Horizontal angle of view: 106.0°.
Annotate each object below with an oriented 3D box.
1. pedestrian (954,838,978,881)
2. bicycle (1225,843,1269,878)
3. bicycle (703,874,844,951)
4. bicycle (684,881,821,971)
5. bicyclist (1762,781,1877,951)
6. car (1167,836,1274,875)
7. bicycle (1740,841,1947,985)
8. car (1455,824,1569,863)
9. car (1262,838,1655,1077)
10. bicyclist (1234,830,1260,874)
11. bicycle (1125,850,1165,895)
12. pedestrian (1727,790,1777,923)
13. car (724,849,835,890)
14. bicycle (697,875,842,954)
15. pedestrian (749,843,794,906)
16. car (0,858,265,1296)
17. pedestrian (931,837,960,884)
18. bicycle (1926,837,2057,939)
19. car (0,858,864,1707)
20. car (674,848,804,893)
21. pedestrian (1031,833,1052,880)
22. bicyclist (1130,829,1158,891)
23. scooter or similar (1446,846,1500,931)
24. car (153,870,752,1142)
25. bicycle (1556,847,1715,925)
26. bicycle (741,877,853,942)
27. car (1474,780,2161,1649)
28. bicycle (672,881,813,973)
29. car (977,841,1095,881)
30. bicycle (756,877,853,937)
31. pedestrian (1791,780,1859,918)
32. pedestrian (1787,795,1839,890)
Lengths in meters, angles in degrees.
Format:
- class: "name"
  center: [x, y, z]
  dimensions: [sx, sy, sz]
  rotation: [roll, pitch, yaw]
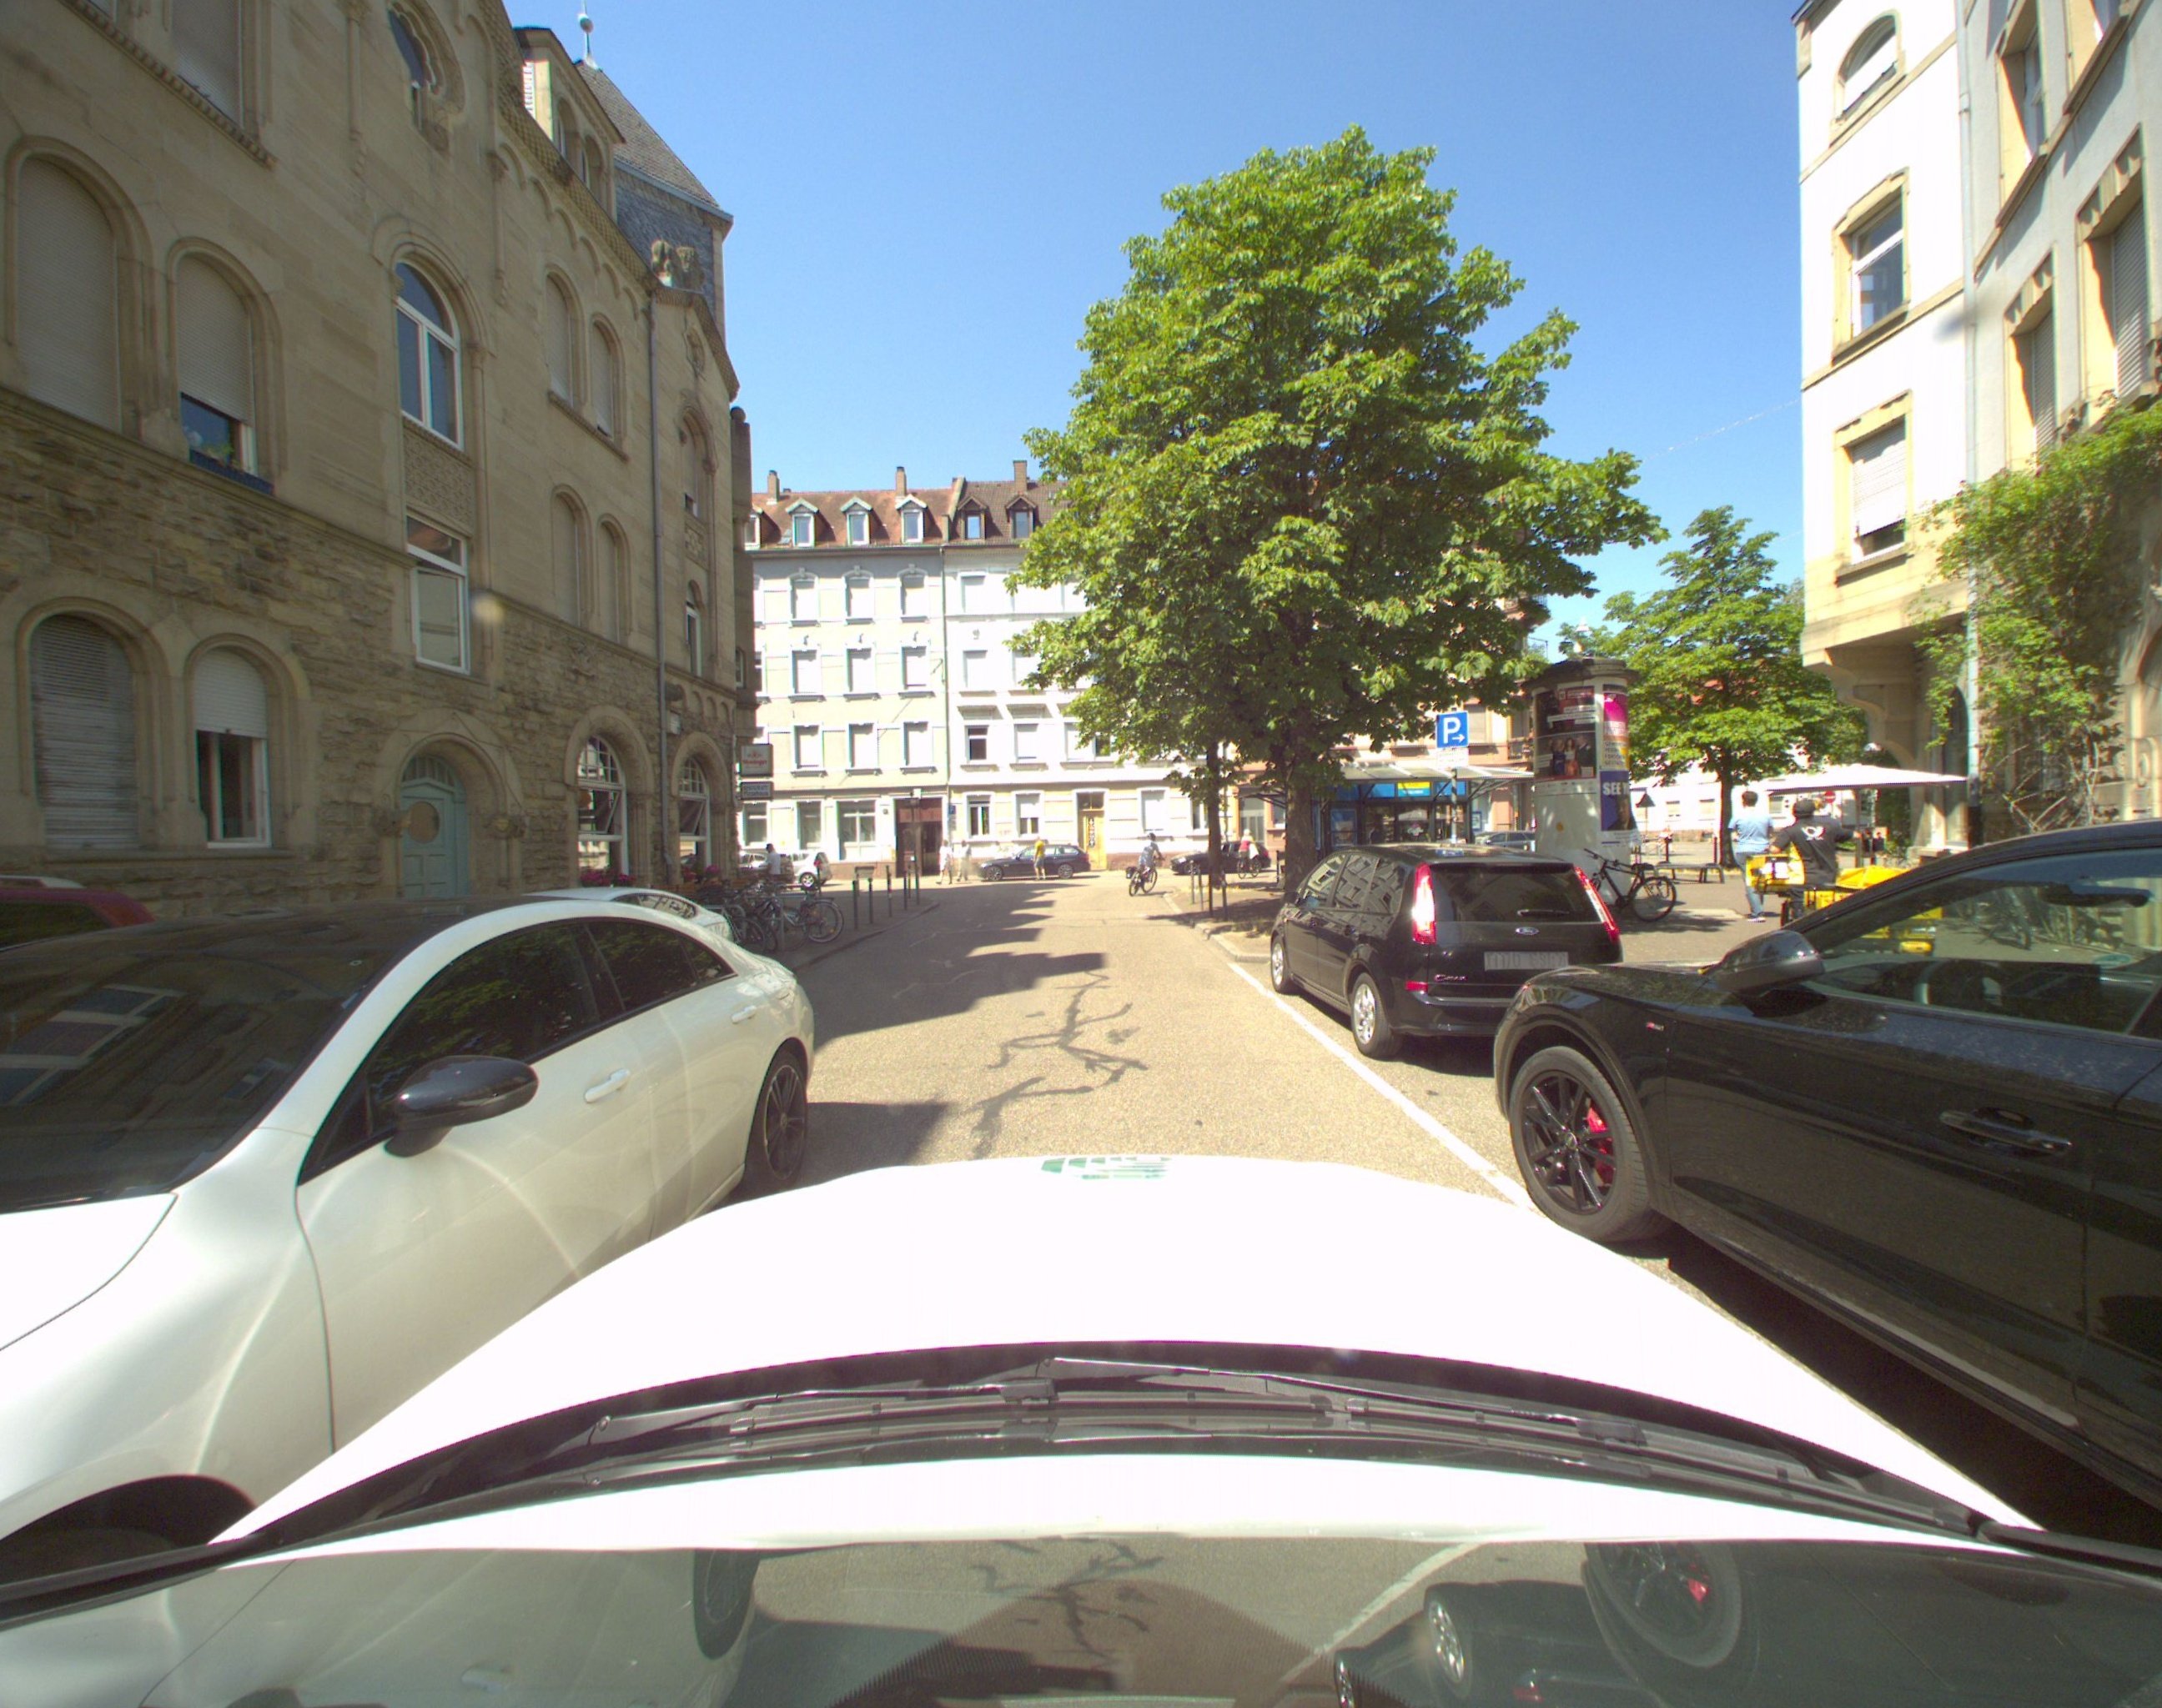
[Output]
- class: "pedestrian"
  center: [-4.964, 0.231, 35.162]
  dimensions: [0.899, 1.814, 0.959]
  rotation: [-2, 0, -5]
- class: "bicycle"
  center: [5.977, 0.214, 29.227]
  dimensions: [0.645, 1.209, 2.457]
  rotation: [0, 1, 35]
- class: "bicycle"
  center: [-4.759, 0.896, 12.664]
  dimensions: [1.991, 1.129, 0.435]
  rotation: [0, 0, -4]
- class: "bicycle"
  center: [-4.623, 1.007, 11.498]
  dimensions: [1.699, 1.100, 0.292]
  rotation: [-5, 0, -4]
- class: "bicyclist"
  center: [7.538, 0.118, 8.344]
  dimensions: [0.671, 1.647, 0.666]
  rotation: [-2, 0, 26]
- class: "car"
  center: [5.963, 0.045, 35.074]
  dimensions: [4.280, 1.370, 1.807]
  rotation: [-2, 3, 0]
- class: "bicycle"
  center: [7.470, 0.488, 8.157]
  dimensions: [0.786, 1.169, 2.594]
  rotation: [-2, 1, 27]
- class: "car"
  center: [18.577, -0.456, 35.188]
  dimensions: [3.975, 1.505, 1.778]
  rotation: [-2, 0, -1]
- class: "car"
  center: [2.899, 0.639, 7.345]
  dimensions: [1.657, 1.540, 4.178]
  rotation: [0, 1, 1]
- class: "bicyclist"
  center: [5.961, -0.068, 29.188]
  dimensions: [0.664, 1.533, 0.613]
  rotation: [-2, 0, 35]
- class: "bicycle"
  center: [1.866, 0.499, 23.552]
  dimensions: [0.647, 1.228, 2.452]
  rotation: [0, 1, 16]
- class: "pedestrian"
  center: [9.758, 0.028, 11.849]
  dimensions: [0.513, 1.868, 0.658]
  rotation: [-2, 0, 39]
- class: "car"
  center: [-12.898, 0.636, 35.034]
  dimensions: [4.035, 1.562, 1.806]
  rotation: [-2, 0, -1]
- class: "bicycle"
  center: [-4.657, 0.900, 12.233]
  dimensions: [1.967, 1.129, 0.394]
  rotation: [1, 0, -4]
- class: "pedestrian"
  center: [-8.536, 0.556, 22.481]
  dimensions: [0.854, 1.672, 0.774]
  rotation: [-2, 0, 1]
- class: "car"
  center: [-4.795, 0.887, 1.876]
  dimensions: [1.667, 1.582, 4.051]
  rotation: [-4, 1, -1]
- class: "pedestrian"
  center: [-5.540, 0.259, 33.360]
  dimensions: [0.844, 1.889, 0.938]
  rotation: [-2, 0, 11]
- class: "bicycle"
  center: [10.567, 0.353, 9.517]
  dimensions: [0.542, 1.039, 1.849]
  rotation: [-2, 1, 33]
- class: "car"
  center: [-2.190, 0.840, 2.344]
  dimensions: [1.835, 1.460, 4.362]
  rotation: [-4, 1, 0]
- class: "car"
  center: [-13.238, 0.628, 31.665]
  dimensions: [4.209, 1.519, 1.807]
  rotation: [-2, 0, 0]
- class: "pedestrian"
  center: [-1.636, 0.098, 33.523]
  dimensions: [0.724, 1.853, 0.683]
  rotation: [-2, 0, -9]
- class: "bicyclist"
  center: [1.806, 0.163, 23.344]
  dimensions: [0.665, 1.760, 0.612]
  rotation: [0, 0, 17]
- class: "scooter or similar"
  center: [5.662, 0.471, 11.739]
  dimensions: [0.437, 1.136, 1.193]
  rotation: [-2, 1, 37]
- class: "car"
  center: [-4.616, 0.935, 7.073]
  dimensions: [1.697, 1.352, 4.512]
  rotation: [-4, 1, -2]
- class: "bicycle"
  center: [8.203, 0.459, 12.098]
  dimensions: [1.893, 1.039, 0.634]
  rotation: [-3, 0, 1]
- class: "bicycle"
  center: [-4.720, 0.923, 13.595]
  dimensions: [1.701, 1.045, 0.413]
  rotation: [0, 0, -4]
- class: "car"
  center: [2.844, 0.660, 1.843]
  dimensions: [1.731, 1.596, 4.345]
  rotation: [0, 1, -2]
- class: "bicycle"
  center: [-4.629, 0.989, 11.187]
  dimensions: [1.699, 1.100, 0.292]
  rotation: [-4, 0, -4]
- class: "car"
  center: [-1.873, 0.275, 34.883]
  dimensions: [4.843, 1.437, 2.000]
  rotation: [-2, 1, 0]
- class: "bicycle"
  center: [-4.748, 0.912, 14.021]
  dimensions: [1.522, 1.008, 0.366]
  rotation: [0, 0, -4]
- class: "pedestrian"
  center: [10.572, -0.078, 11.569]
  dimensions: [0.888, 1.879, 0.594]
  rotation: [-2, 0, -42]
- class: "pedestrian"
  center: [14.244, -0.232, 15.849]
  dimensions: [0.753, 1.793, 0.576]
  rotation: [-3, 0, -38]
